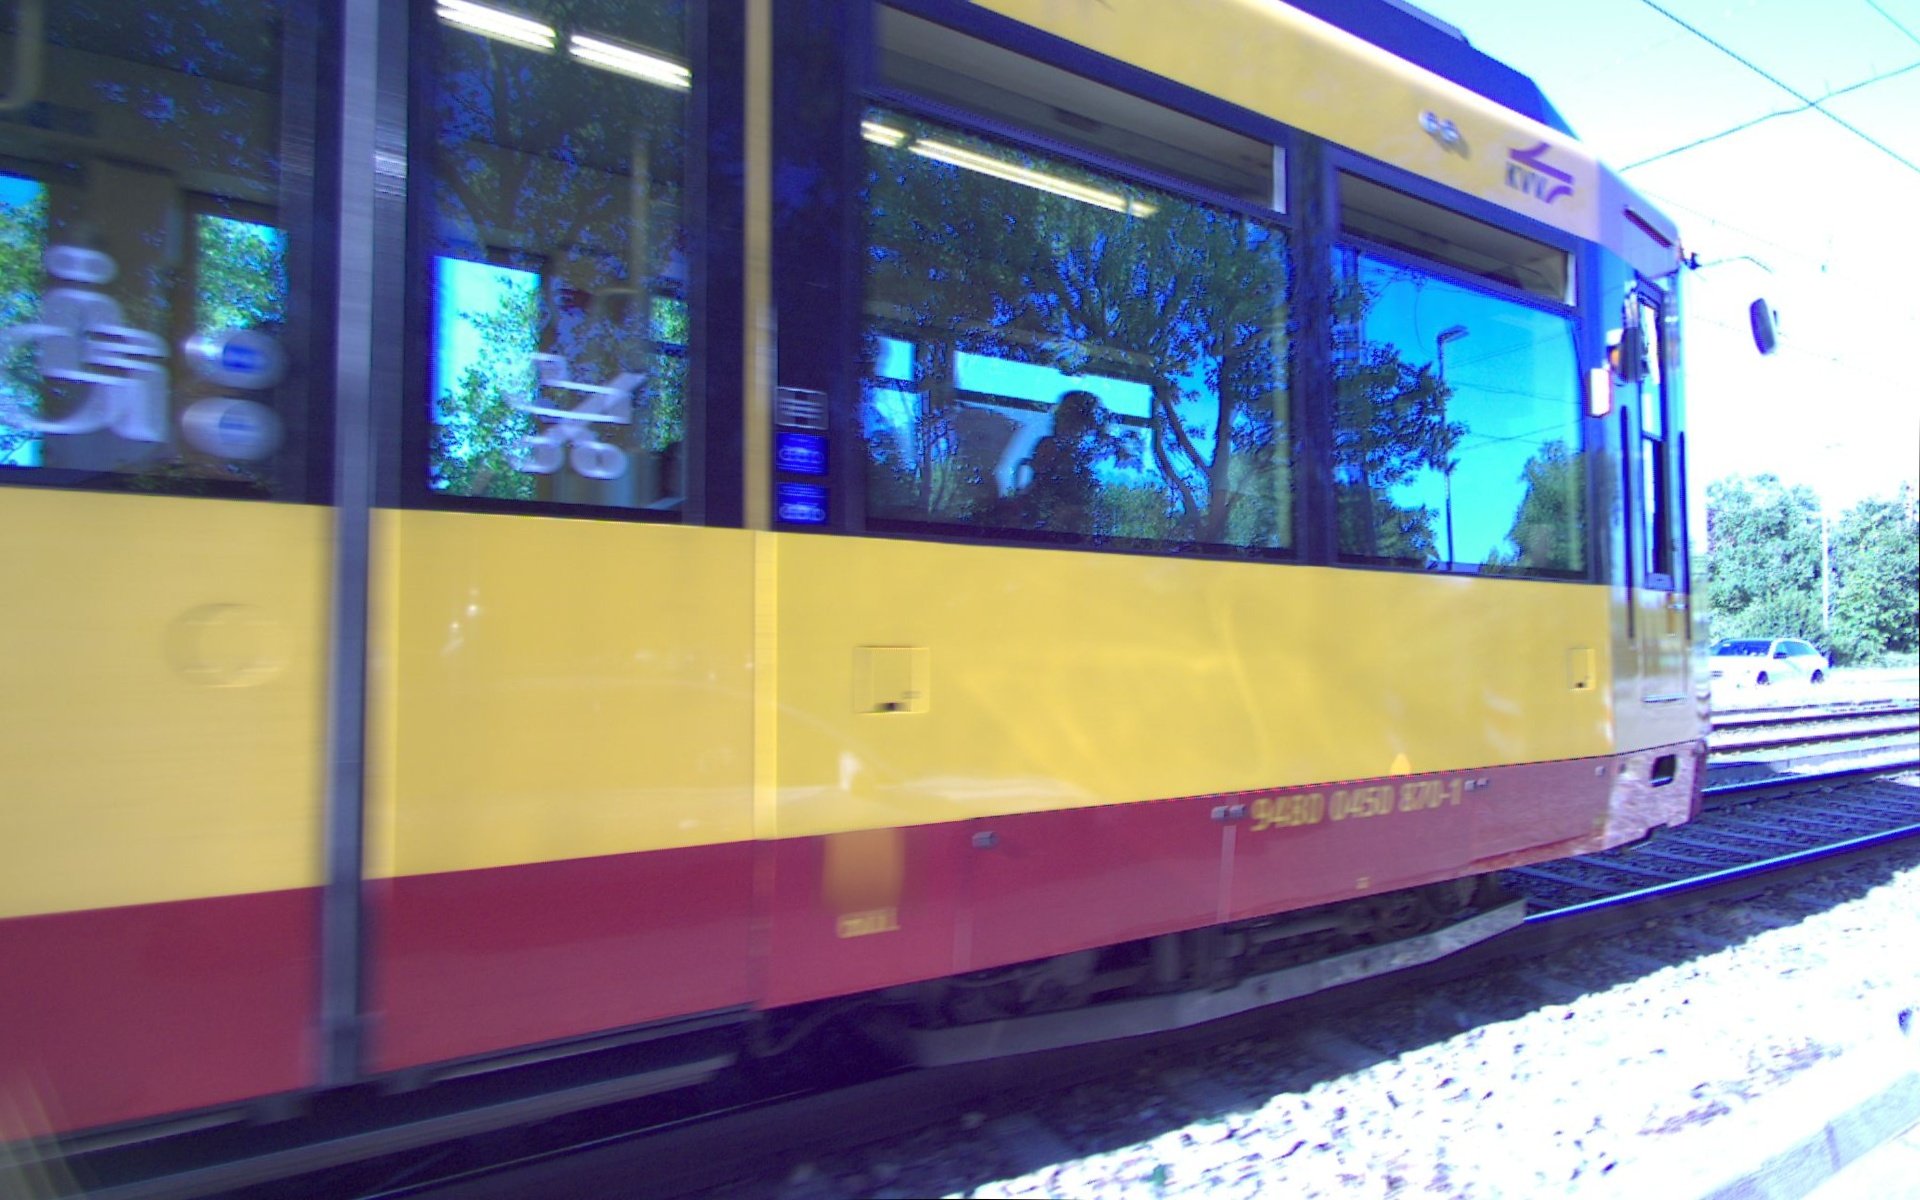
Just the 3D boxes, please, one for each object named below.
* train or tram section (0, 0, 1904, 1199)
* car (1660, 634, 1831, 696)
[{"bbox_3d":[-1.626,-0.582,2.845,12.661,4.142,2.707,1,-2,-30],"label":"train or tram section"},{"bbox_3d":[19.875,1.587,25.370,4.854,1.431,1.759,1,-1,-30],"label":"car"}]
